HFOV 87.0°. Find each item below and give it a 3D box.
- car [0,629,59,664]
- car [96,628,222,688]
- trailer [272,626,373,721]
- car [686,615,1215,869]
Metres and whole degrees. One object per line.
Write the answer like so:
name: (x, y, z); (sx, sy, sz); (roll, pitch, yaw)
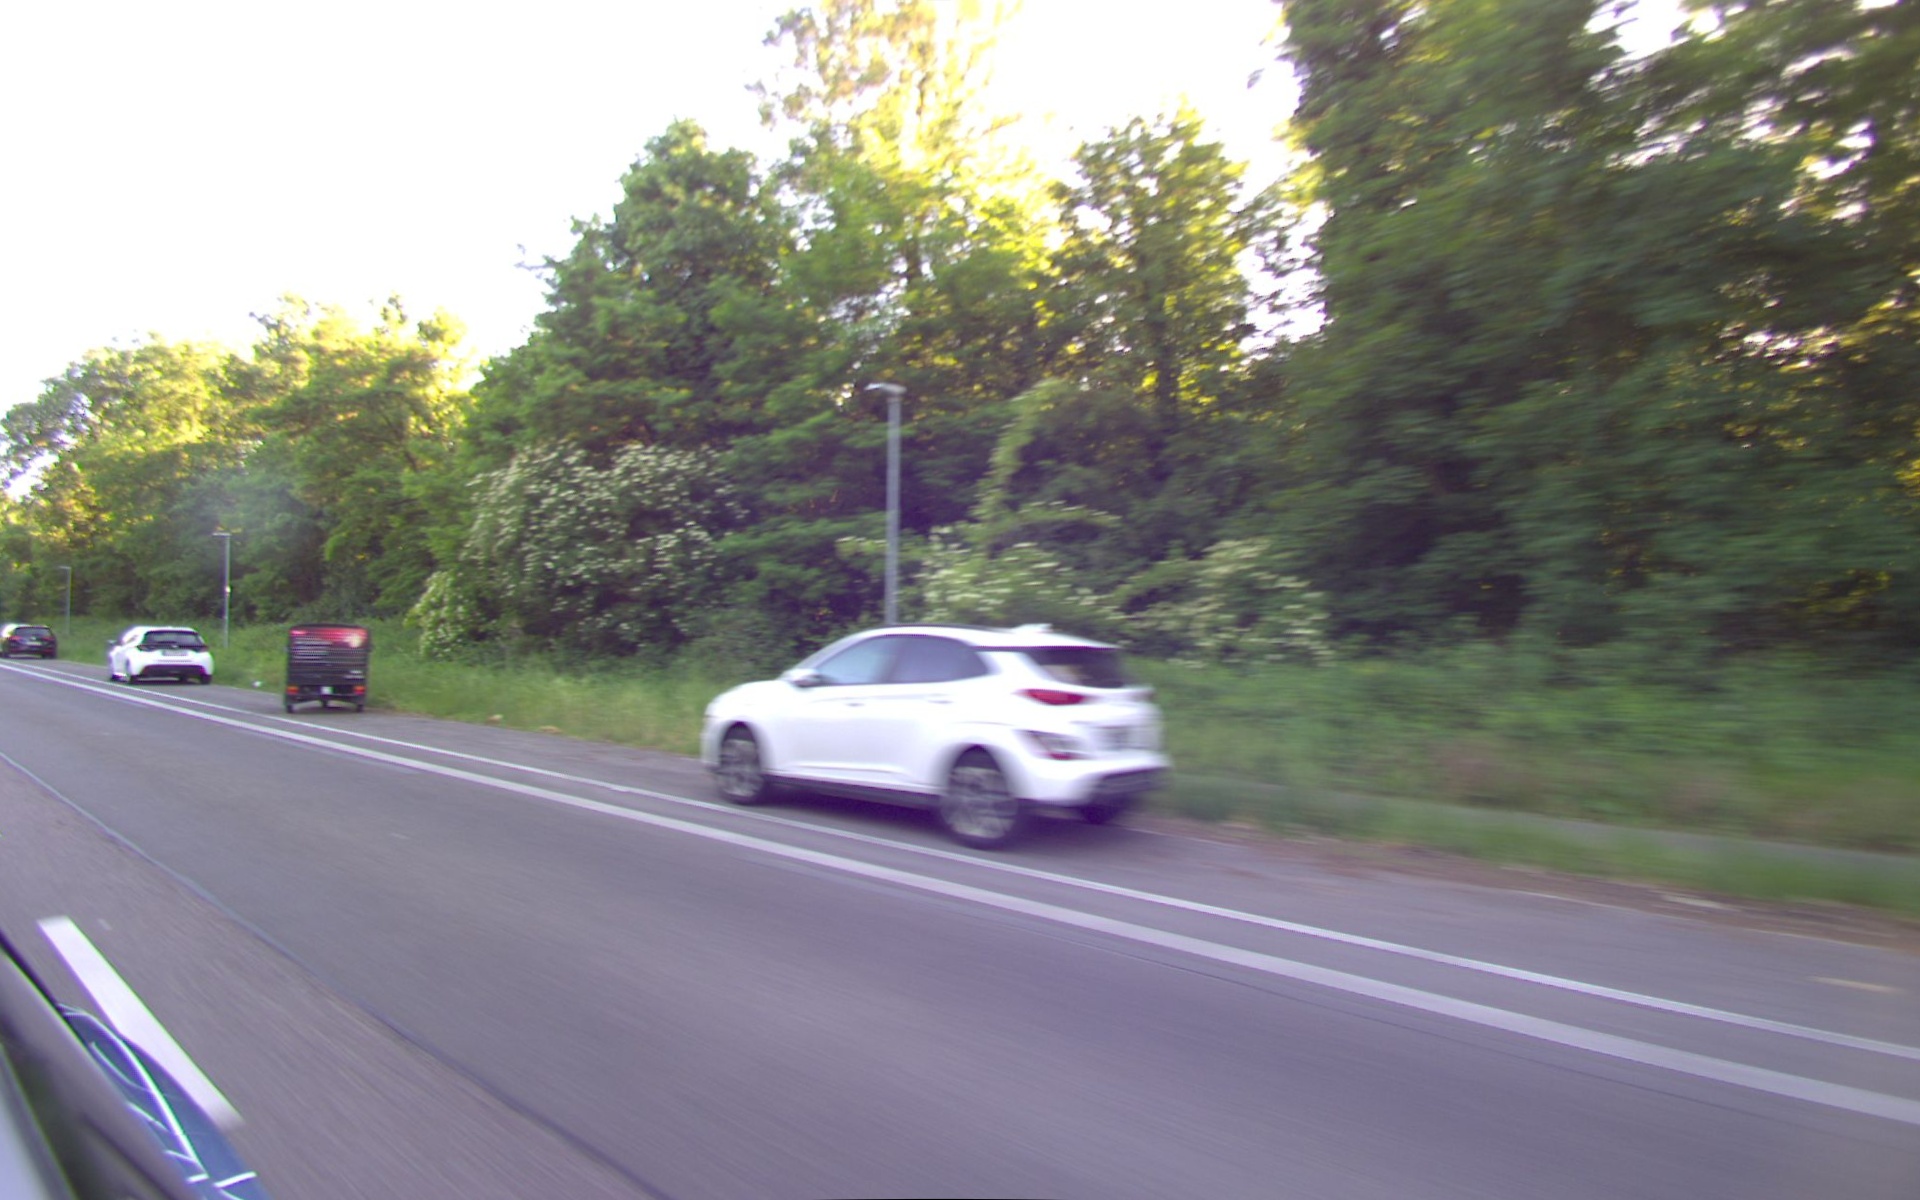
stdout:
car: (-41.187, 1.997, 44.413); (4.781, 1.475, 1.835); (-1, -2, 41)
car: (-21.284, 1.517, 26.836); (4.069, 1.461, 1.847); (-1, -5, 41)
trailer: (-11.519, 1.260, 18.403); (1.376, 1.586, 2.683); (1, -2, -29)
car: (-0.232, 0.974, 8.375); (4.202, 1.583, 1.796); (-1, -4, 39)
